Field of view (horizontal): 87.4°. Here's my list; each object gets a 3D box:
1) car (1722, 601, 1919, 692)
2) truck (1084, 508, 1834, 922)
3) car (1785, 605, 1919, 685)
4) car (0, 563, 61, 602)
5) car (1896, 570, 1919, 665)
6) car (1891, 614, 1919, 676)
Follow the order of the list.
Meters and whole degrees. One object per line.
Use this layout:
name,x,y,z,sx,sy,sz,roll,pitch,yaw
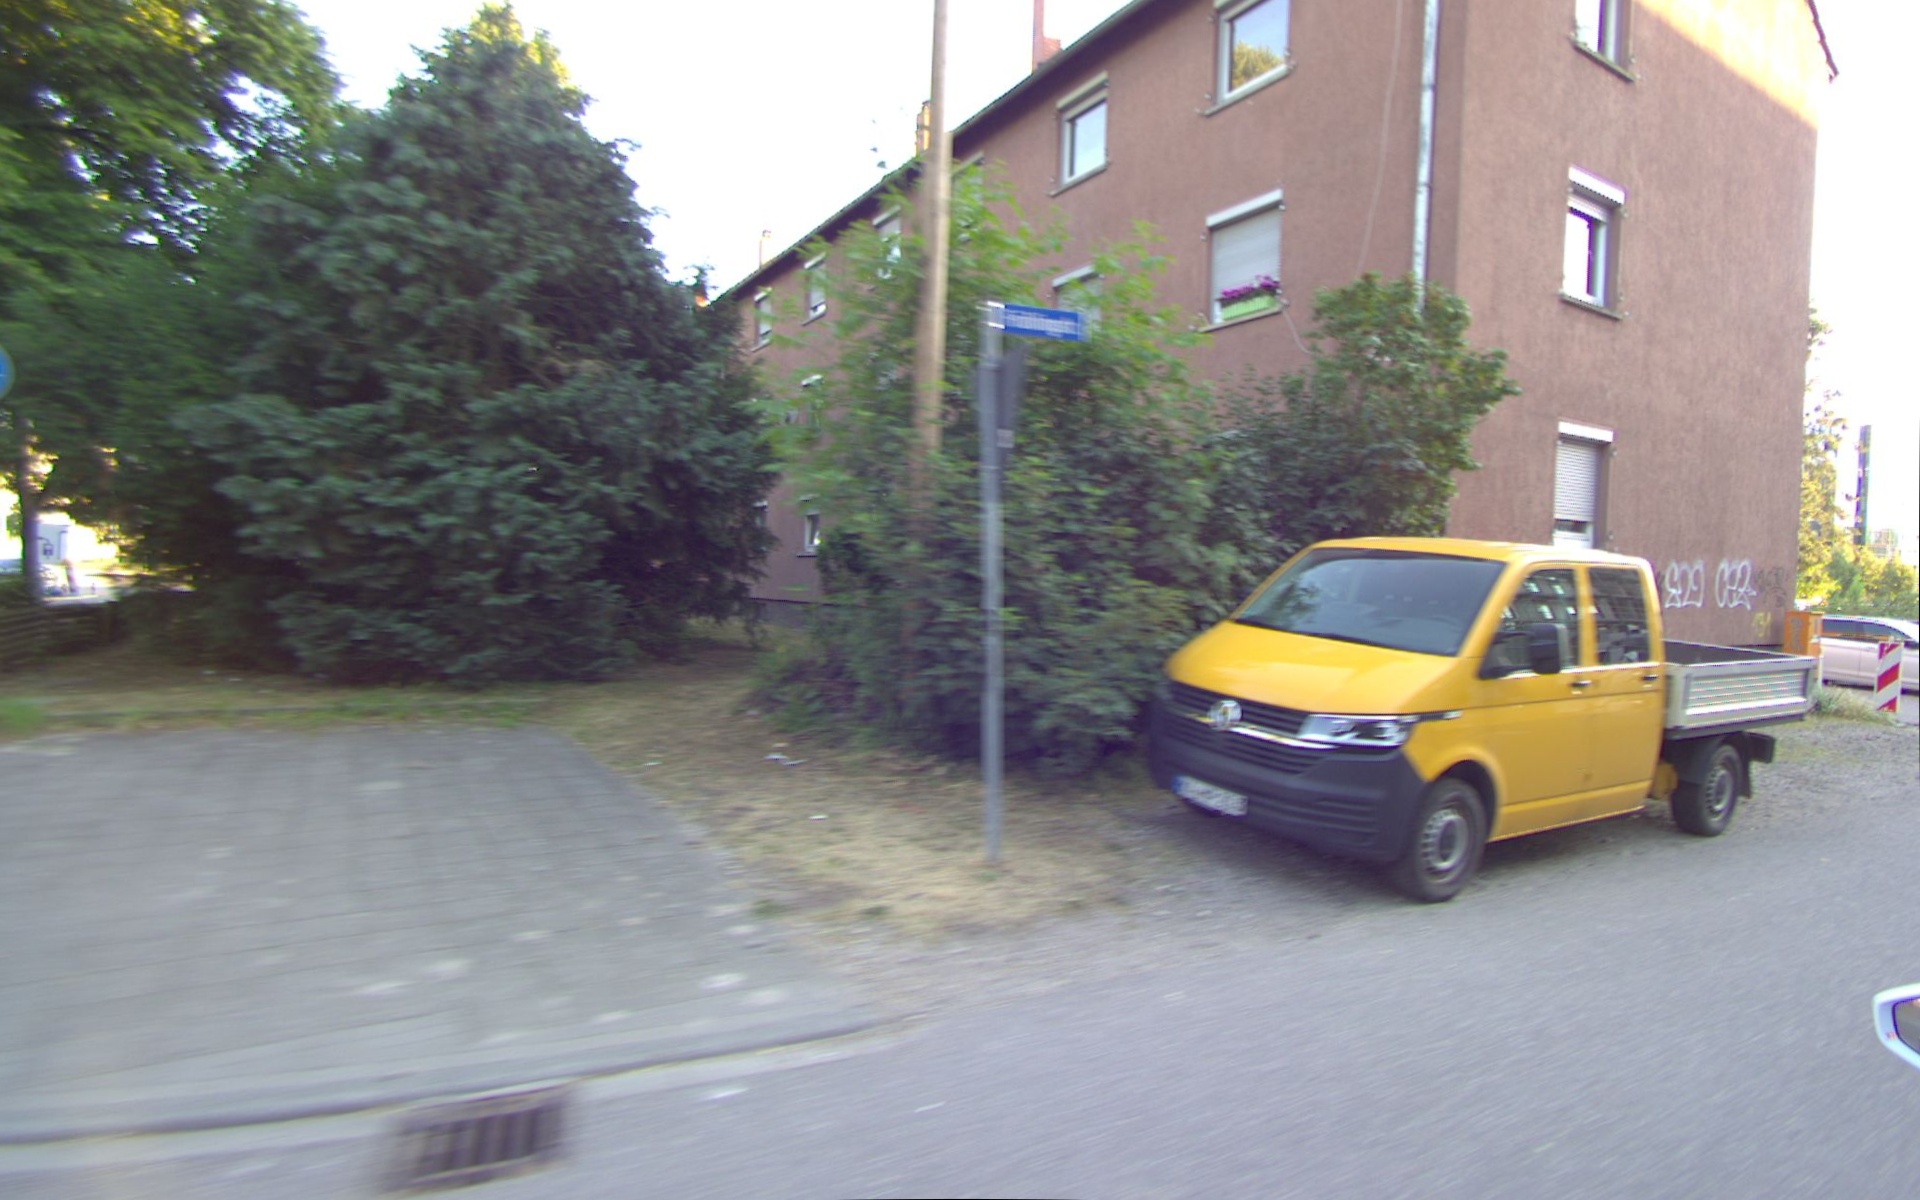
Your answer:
car,18.985,0.961,20.535,2.090,1.565,4.970,1,3,-29
truck,3.724,0.556,7.045,5.598,1.939,2.023,1,2,-32
car,20.938,1.019,21.777,1.710,1.565,4.387,1,2,-34
car,-41.627,-0.803,44.676,1.772,1.578,4.367,0,3,-34
car,29.090,0.612,26.724,2.195,2.661,5.662,1,2,-29
car,24.385,1.169,23.256,1.709,1.449,3.813,1,2,-33
